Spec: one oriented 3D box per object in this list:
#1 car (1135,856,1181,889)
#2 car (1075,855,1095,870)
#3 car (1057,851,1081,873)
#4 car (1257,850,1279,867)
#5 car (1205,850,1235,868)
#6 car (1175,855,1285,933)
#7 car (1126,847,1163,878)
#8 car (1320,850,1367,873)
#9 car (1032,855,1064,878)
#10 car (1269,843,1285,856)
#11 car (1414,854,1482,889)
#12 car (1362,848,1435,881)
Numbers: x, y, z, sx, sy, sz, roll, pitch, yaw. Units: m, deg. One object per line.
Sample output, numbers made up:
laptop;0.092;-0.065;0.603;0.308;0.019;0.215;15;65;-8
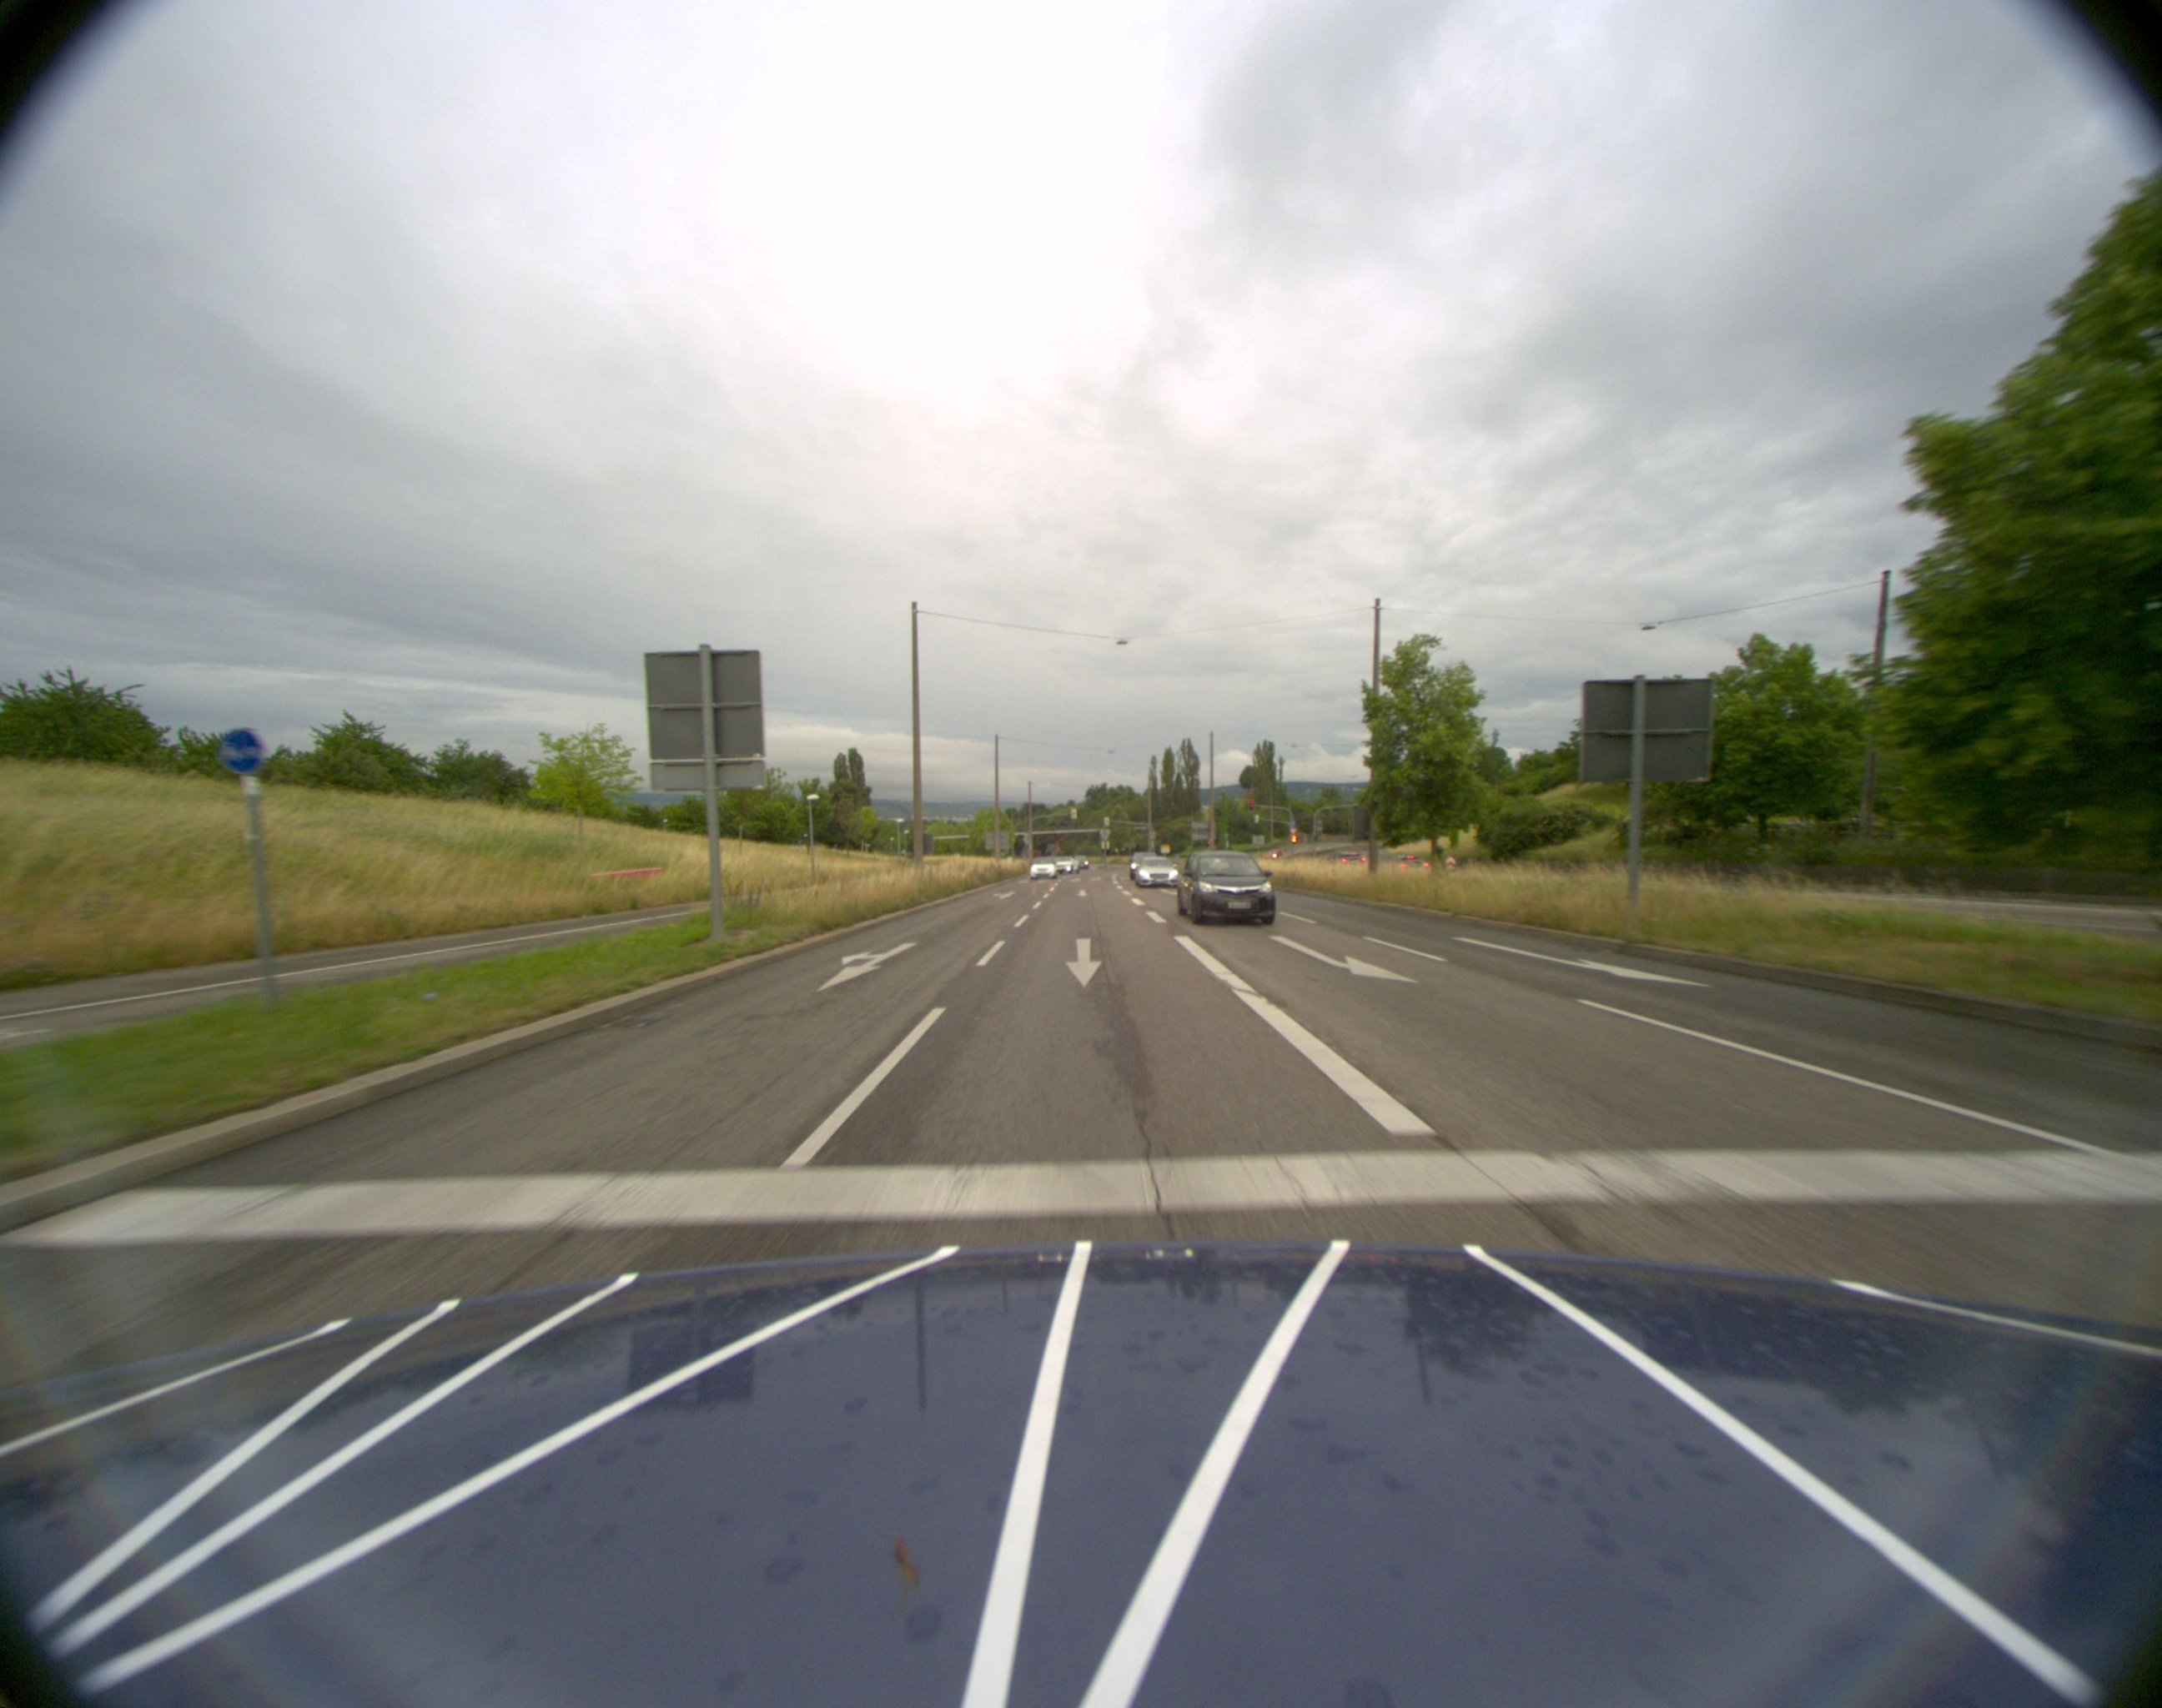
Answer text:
car;3.671;0.855;36.535;1.998;1.400;4.526;-2;0;5
car;0.454;0.996;89.431;1.999;1.633;4.626;-3;1;-3
car;-1.010;0.675;65.617;1.843;1.532;3.815;-4;4;0
car;23.287;0.550;94.516;1.996;2.001;4.007;-3;-2;21
car;16.618;0.549;90.710;1.995;2.001;4.008;-3;-2;35
car;3.264;0.805;17.402;1.800;1.556;4.043;0;0;1
car;3.889;0.503;46.919;1.927;1.725;4.025;3;0;1
car;19.167;0.523;55.632;1.866;1.610;3.999;-1;0;-3
car;-2.287;0.856;53.433;1.725;1.513;4.228;0;0;5
car;31.094;-0.688;120.650;1.995;2.001;4.007;-1;-1;21
car;22.832;1.073;47.457;1.999;2.002;3.998;1;1;-4
car;16.754;0.531;40.281;1.999;1.630;4.018;-1;0;-3
